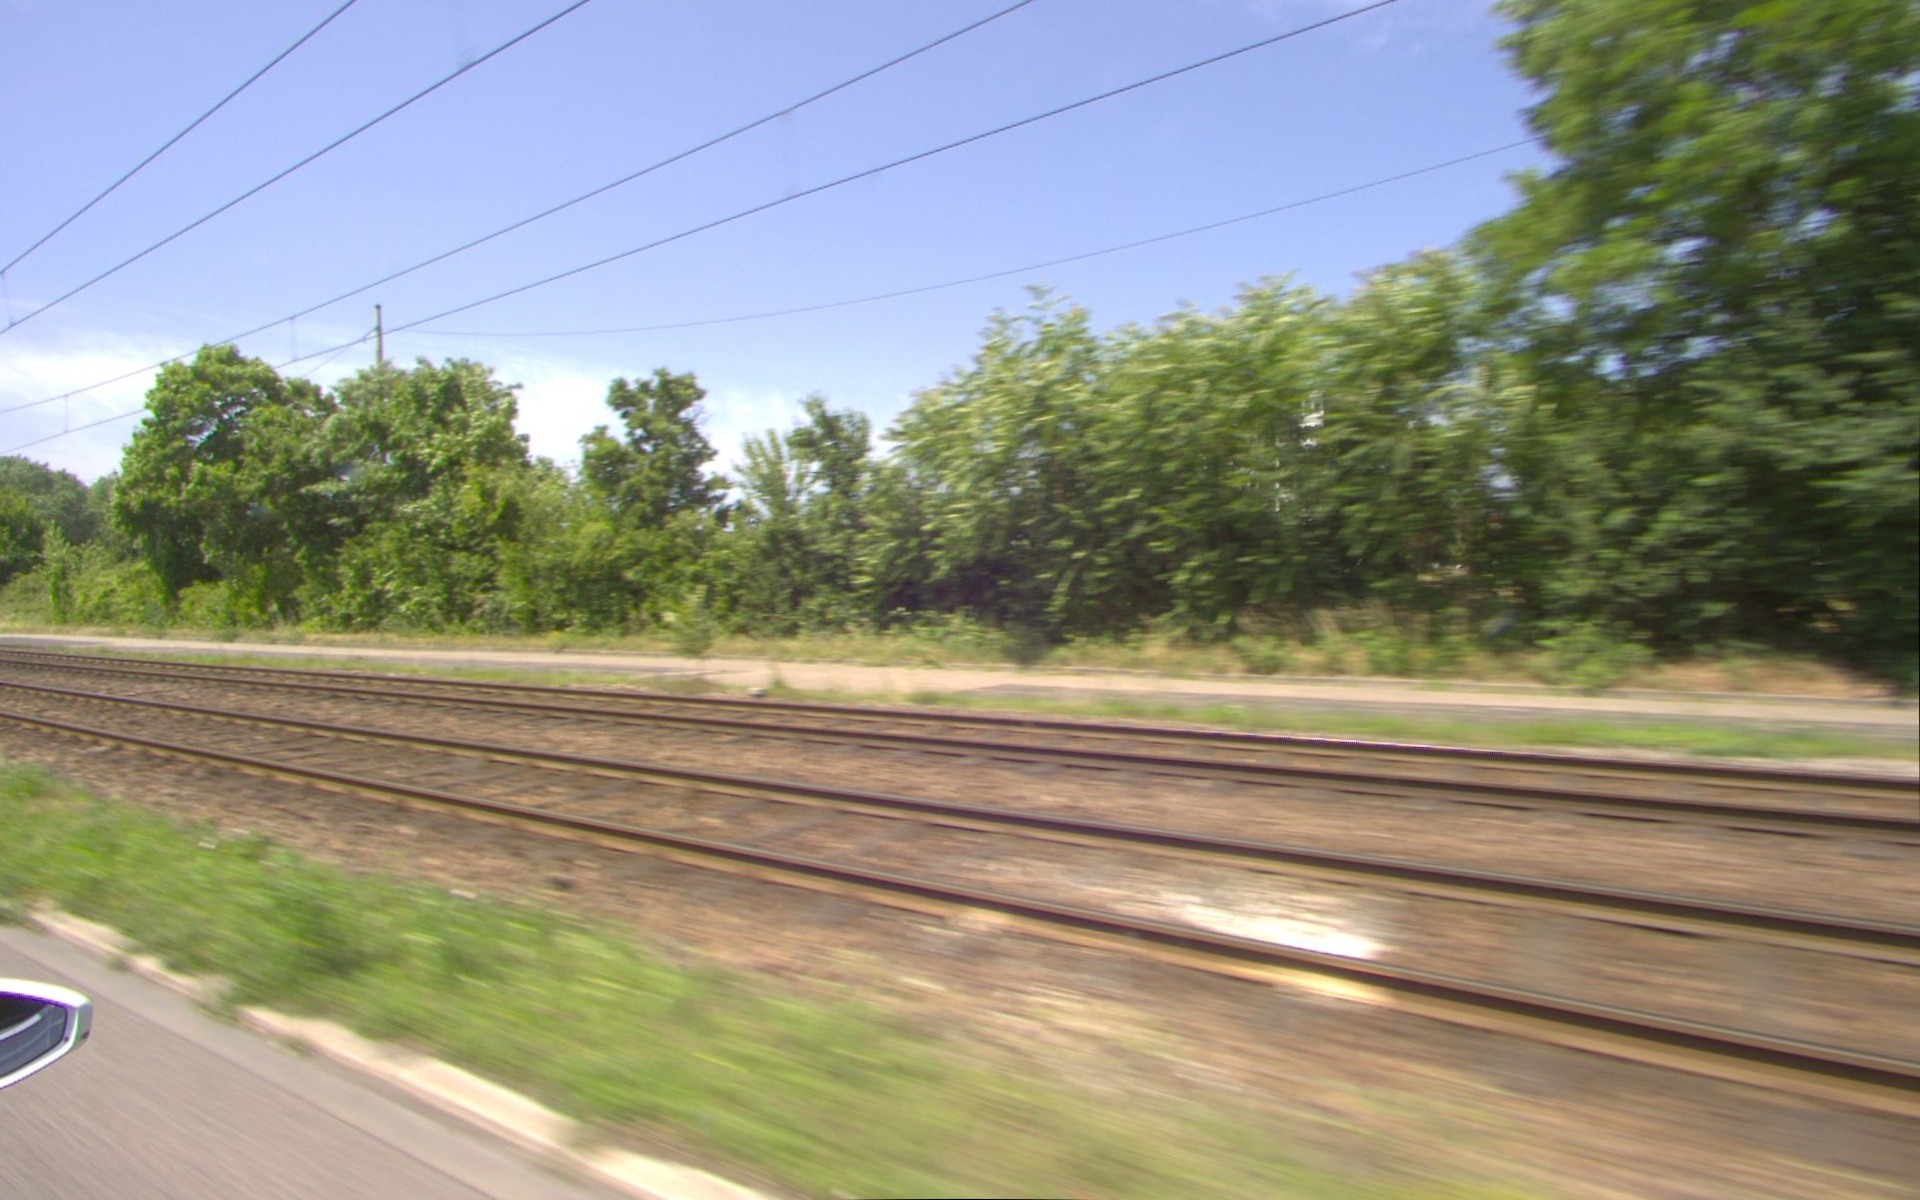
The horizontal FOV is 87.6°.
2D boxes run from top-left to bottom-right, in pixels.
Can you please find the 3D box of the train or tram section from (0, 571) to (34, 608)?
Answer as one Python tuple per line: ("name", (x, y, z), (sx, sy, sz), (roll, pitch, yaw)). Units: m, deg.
("train or tram section", (-111.799, -0.977, 110.356), (13.845, 3.969, 2.908), (-3, -1, -32))
